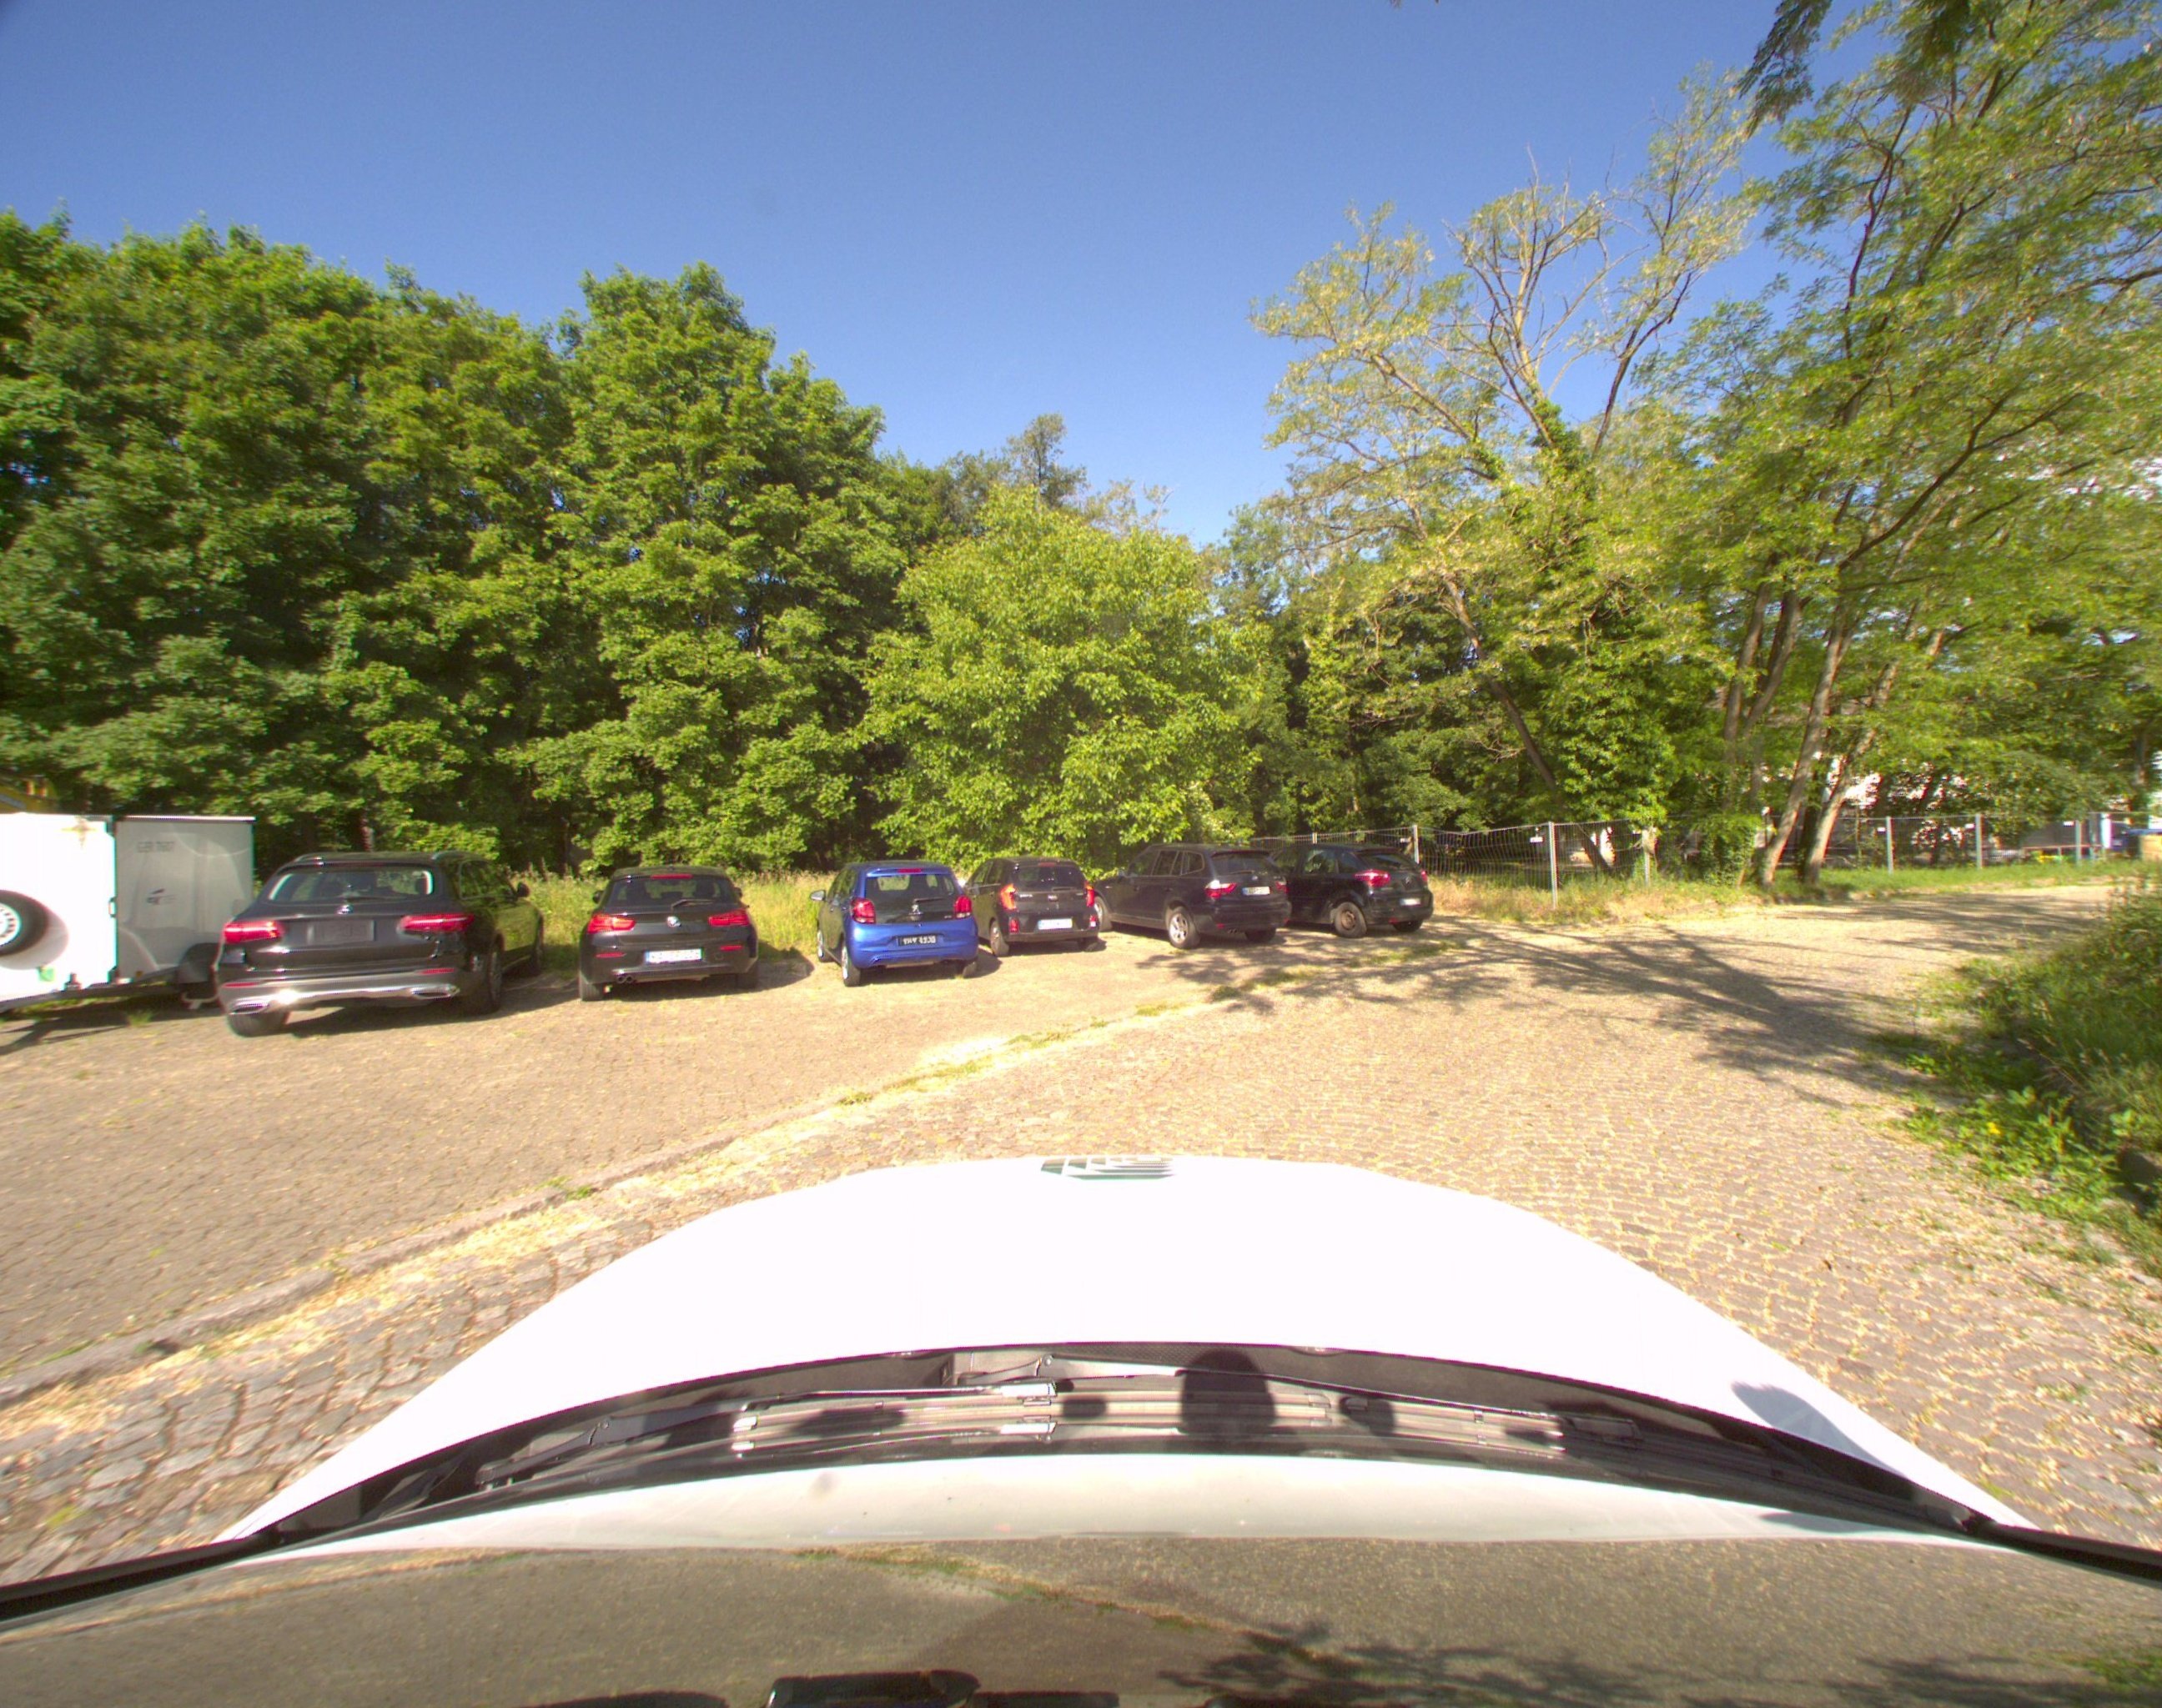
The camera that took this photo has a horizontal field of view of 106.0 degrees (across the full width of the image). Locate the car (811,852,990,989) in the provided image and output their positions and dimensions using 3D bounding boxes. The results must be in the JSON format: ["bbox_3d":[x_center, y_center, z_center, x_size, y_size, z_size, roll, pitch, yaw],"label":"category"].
[{"bbox_3d":[-2.626,0.746,11.181,1.717,1.493,3.634,-1,1,-24],"label":"car"}]

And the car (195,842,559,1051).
[{"bbox_3d":[-6.984,0.745,8.632,1.871,1.641,3.790,-1,0,-24],"label":"car"}]

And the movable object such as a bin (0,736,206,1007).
[{"bbox_3d":[-13.085,0.221,9.410,2.001,2.966,5.127,-1,0,-22],"label":"movable object such as a bin"}]

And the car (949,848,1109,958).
[{"bbox_3d":[-0.993,0.683,13.504,1.679,1.515,3.526,0,1,-21],"label":"car"}]

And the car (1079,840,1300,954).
[{"bbox_3d":[1.723,0.610,14.384,1.822,1.656,4.153,-1,1,-27],"label":"car"}]

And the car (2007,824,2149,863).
[{"bbox_3d":[55.078,-0.527,45.104,2.006,1.902,4.678,0,-2,-31],"label":"car"}]

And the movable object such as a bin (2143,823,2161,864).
[{"bbox_3d":[42.718,-0.427,31.238,1.179,1.591,2.272,-1,0,-32],"label":"movable object such as a bin"}]

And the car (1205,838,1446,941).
[{"bbox_3d":[4.507,0.548,15.630,1.801,1.652,4.255,-1,2,-35],"label":"car"}]

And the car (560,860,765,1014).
[{"bbox_3d":[-5.032,0.825,9.973,1.838,1.451,3.632,-1,0,-26],"label":"car"}]

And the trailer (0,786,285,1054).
[{"bbox_3d":[-9.752,0.504,7.911,1.642,2.093,3.940,-1,1,-26],"label":"trailer"}]
